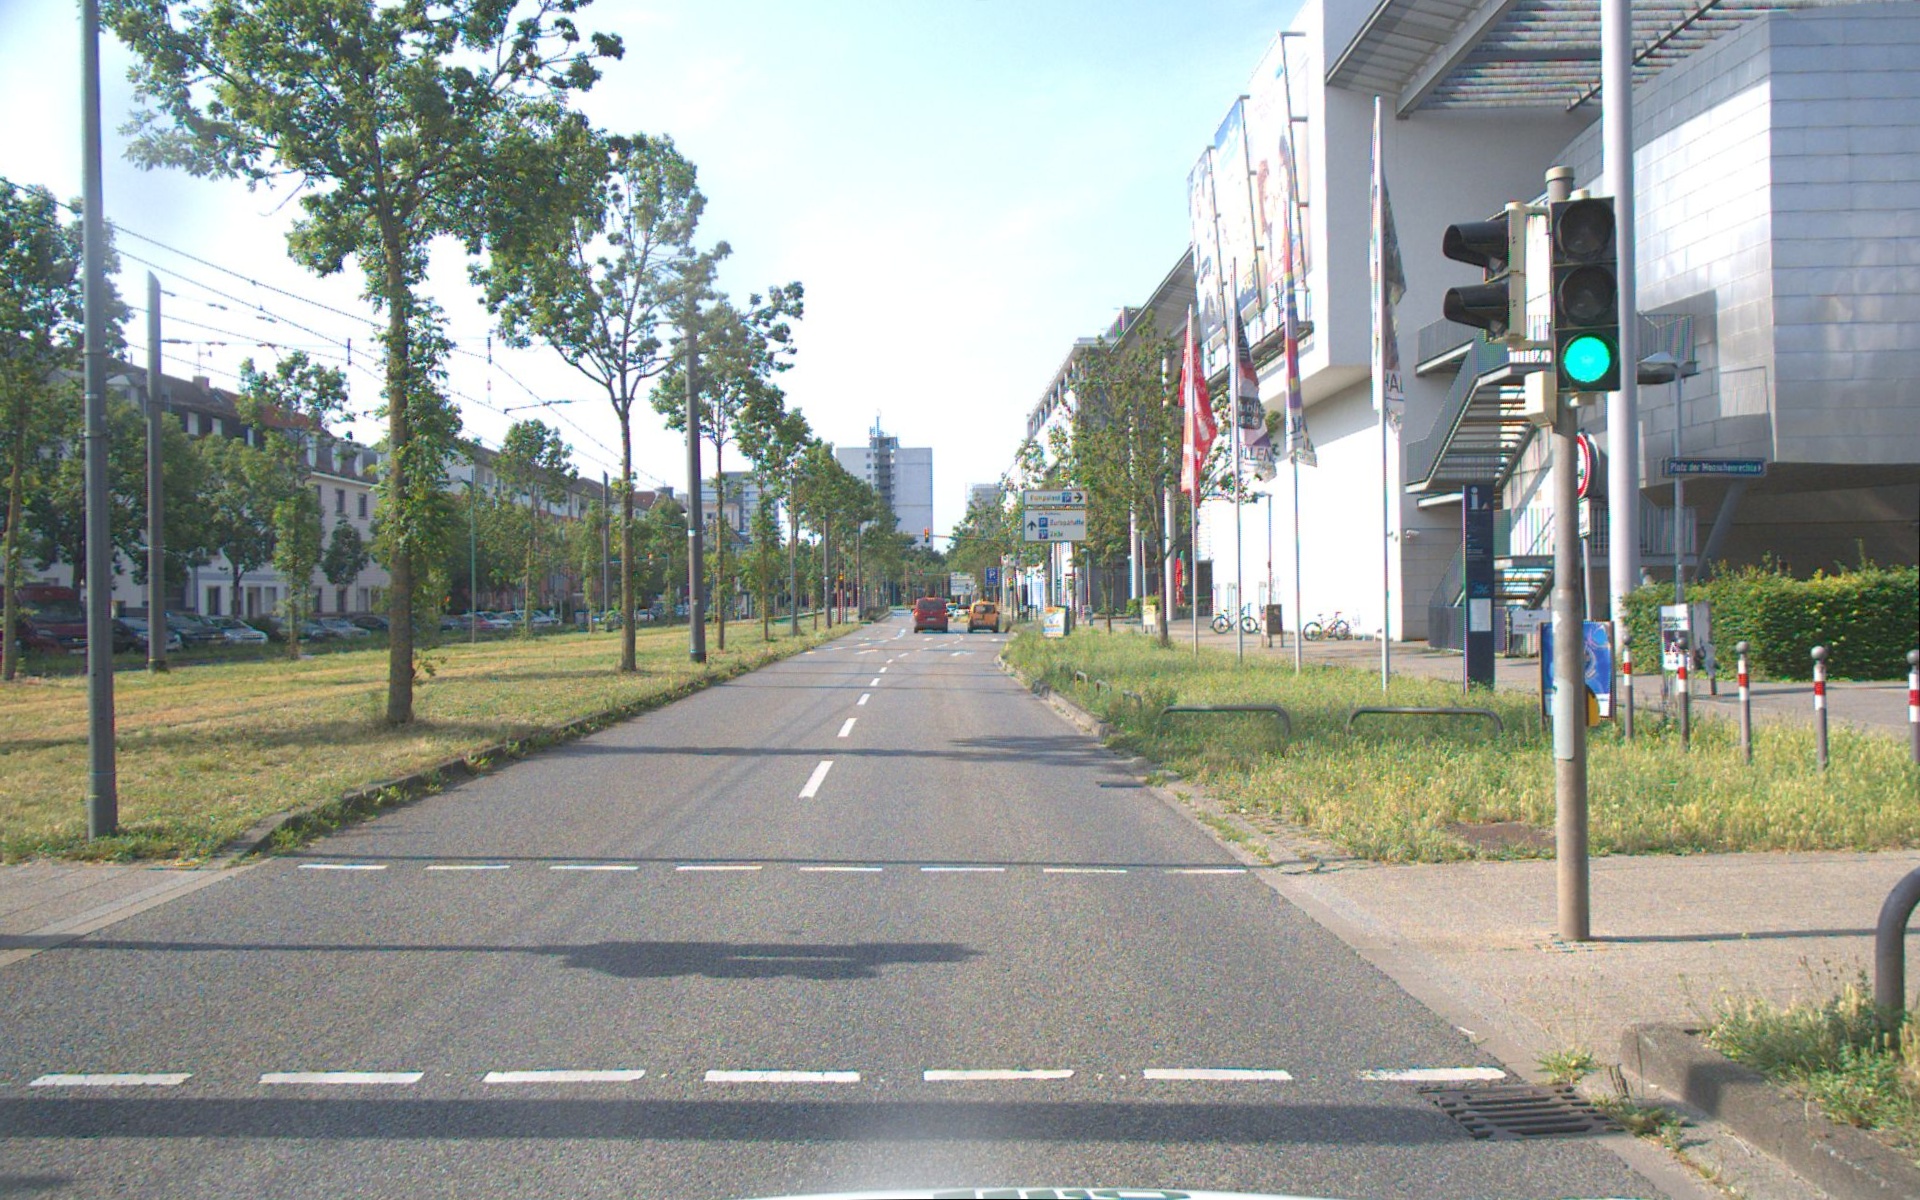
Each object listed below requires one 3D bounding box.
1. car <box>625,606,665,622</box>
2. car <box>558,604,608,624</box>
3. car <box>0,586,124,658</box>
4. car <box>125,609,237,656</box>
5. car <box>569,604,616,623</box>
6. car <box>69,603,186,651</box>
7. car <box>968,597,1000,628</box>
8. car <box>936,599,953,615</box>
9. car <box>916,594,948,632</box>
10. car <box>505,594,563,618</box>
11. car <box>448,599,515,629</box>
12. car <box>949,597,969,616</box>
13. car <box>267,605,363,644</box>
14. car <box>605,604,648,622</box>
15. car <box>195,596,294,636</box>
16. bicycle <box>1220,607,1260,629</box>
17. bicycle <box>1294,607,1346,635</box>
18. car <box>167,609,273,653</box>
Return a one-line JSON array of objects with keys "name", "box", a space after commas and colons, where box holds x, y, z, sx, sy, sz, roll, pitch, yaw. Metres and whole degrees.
[{"name": "car", "box": [-32.921, 1.466, 172.880, 3.907, 1.624, 1.654, 1, -1, 24]}, {"name": "car", "box": [-31.832, 1.162, 139.506, 3.907, 1.624, 1.654, 1, -1, 24]}, {"name": "car", "box": [-28.228, 0.639, 50.646, 5.114, 2.049, 1.875, 1, -1, 24]}, {"name": "car", "box": [-28.271, 1.162, 60.034, 3.907, 1.557, 1.463, 1, -1, 24]}, {"name": "car", "box": [-32.847, 1.187, 147.851, 3.907, 1.624, 1.654, 1, -1, 24]}, {"name": "car", "box": [-28.846, 0.923, 57.275, 3.907, 1.557, 1.463, 1, -1, 24]}, {"name": "car", "box": [1.328, 0.698, 93.868, 1.712, 1.679, 3.215, 1, 0, -1]}, {"name": "car", "box": [-1.601, 0.728, 173.983, 1.713, 1.679, 3.214, 1, 0, -2]}, {"name": "car", "box": [-1.518, 0.706, 90.673, 1.712, 2.049, 3.215, 1, 0, -1]}, {"name": "car", "box": [-30.908, 0.442, 120.049, 3.907, 1.624, 1.654, 1, -1, 24]}, {"name": "car", "box": [-30.916, 0.892, 106.805, 3.907, 1.839, 1.803, 1, -1, 24]}, {"name": "car", "box": [-0.097, 0.610, 148.239, 1.713, 1.679, 3.214, 1, 0, -2]}, {"name": "car", "box": [-28.485, 1.061, 73.032, 3.907, 1.624, 1.654, 1, -1, 24]}, {"name": "car", "box": [-33.004, 1.278, 163.699, 3.907, 1.624, 1.654, 1, -1, 24]}, {"name": "car", "box": [-29.517, 0.655, 68.233, 3.907, 1.557, 1.463, 1, -1, 24]}, {"name": "bicycle", "box": [11.815, 0.749, 69.916, 1.588, 0.903, 0.551, 1, -1, 0]}, {"name": "bicycle", "box": [12.003, 0.706, 55.127, 1.589, 0.903, 0.550, 1, -1, -3]}, {"name": "car", "box": [-28.254, 1.181, 63.169, 3.907, 1.557, 1.463, 1, -1, 24]}]
